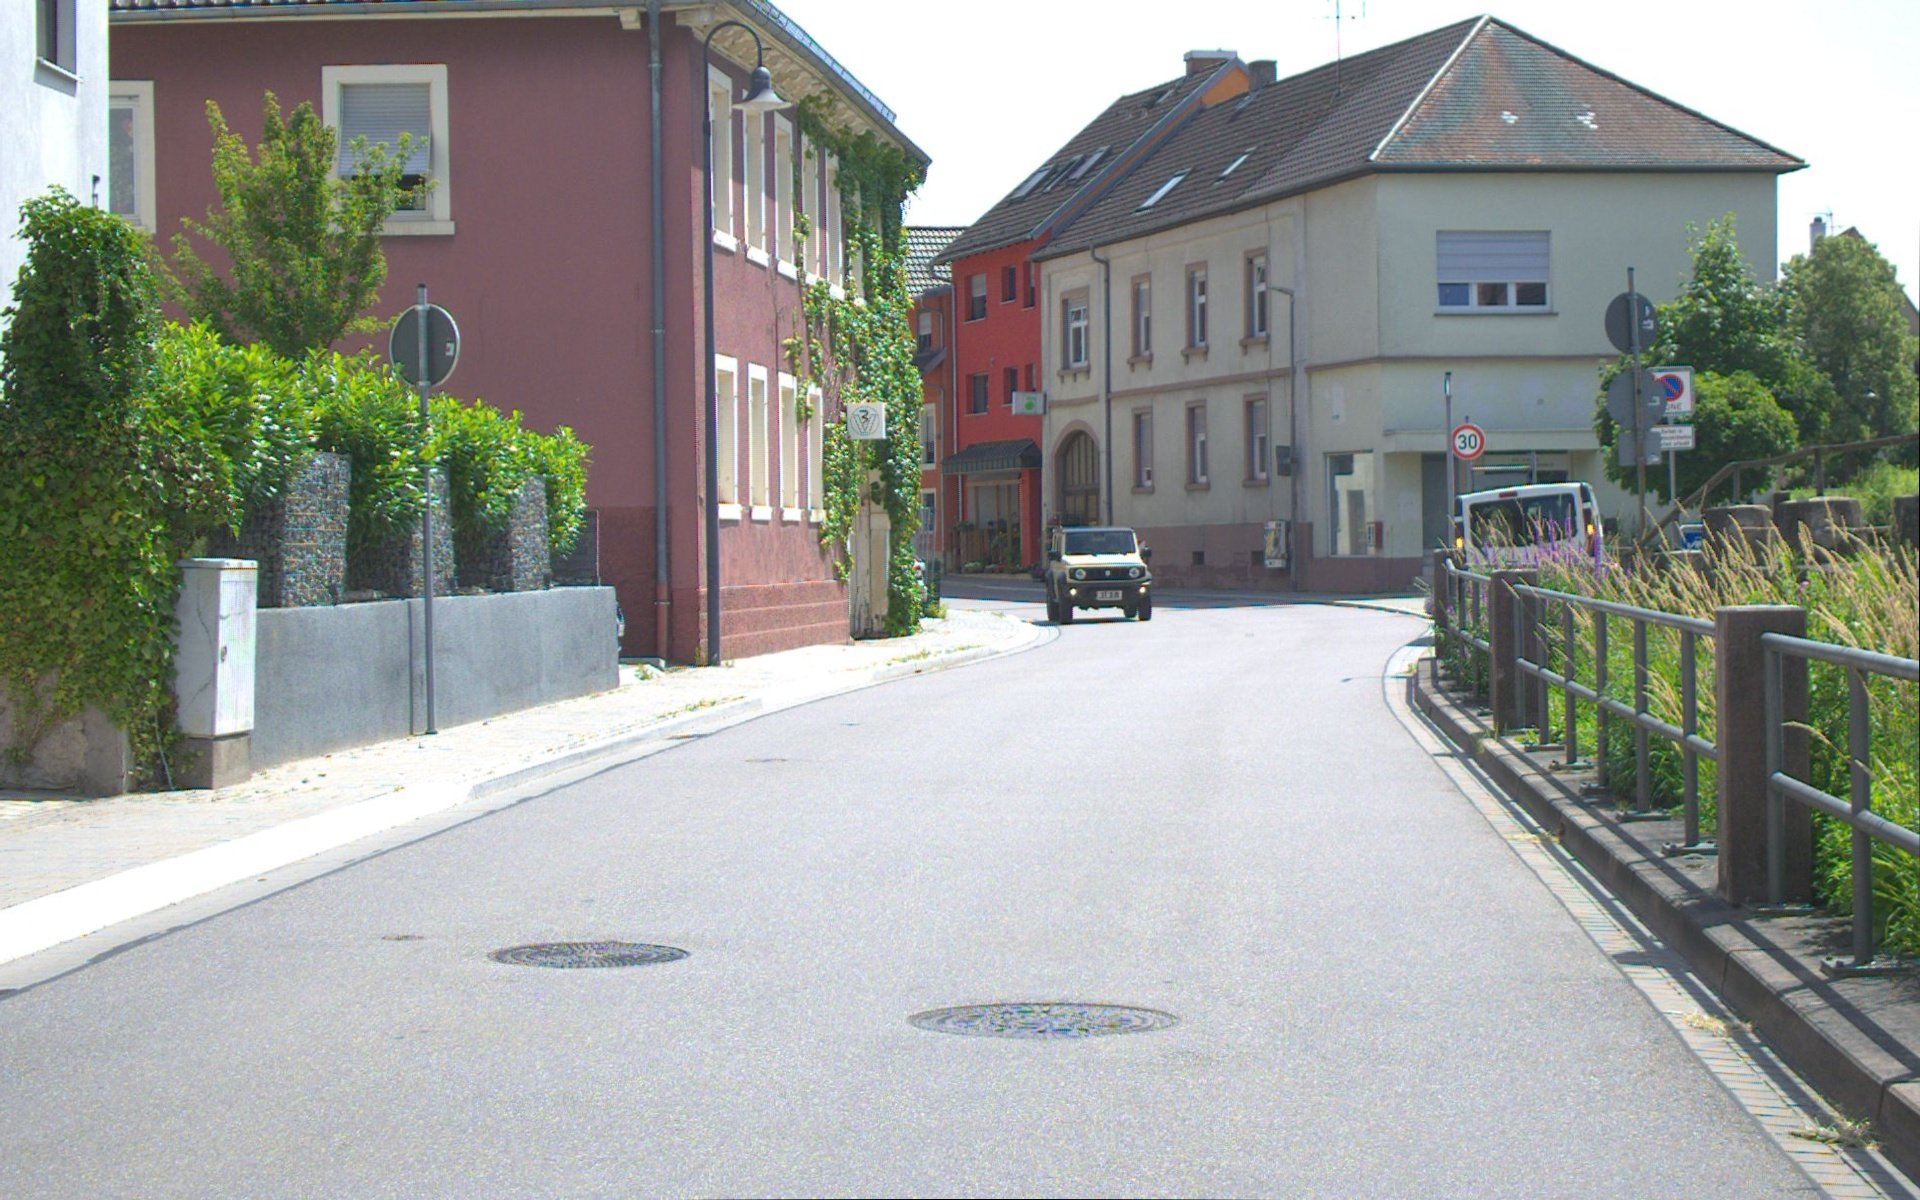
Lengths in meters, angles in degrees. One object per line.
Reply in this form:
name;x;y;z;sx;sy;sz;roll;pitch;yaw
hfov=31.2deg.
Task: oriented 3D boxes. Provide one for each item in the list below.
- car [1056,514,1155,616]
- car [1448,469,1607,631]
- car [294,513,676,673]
car;2.634;-0.642;61.573;1.622;1.713;3.473;-3;1;4
car;7.477;-0.672;45.210;1.898;1.974;3.112;-3;1;10
car;-4.903;-0.093;35.719;3.566;1.401;1.651;4;2;7
